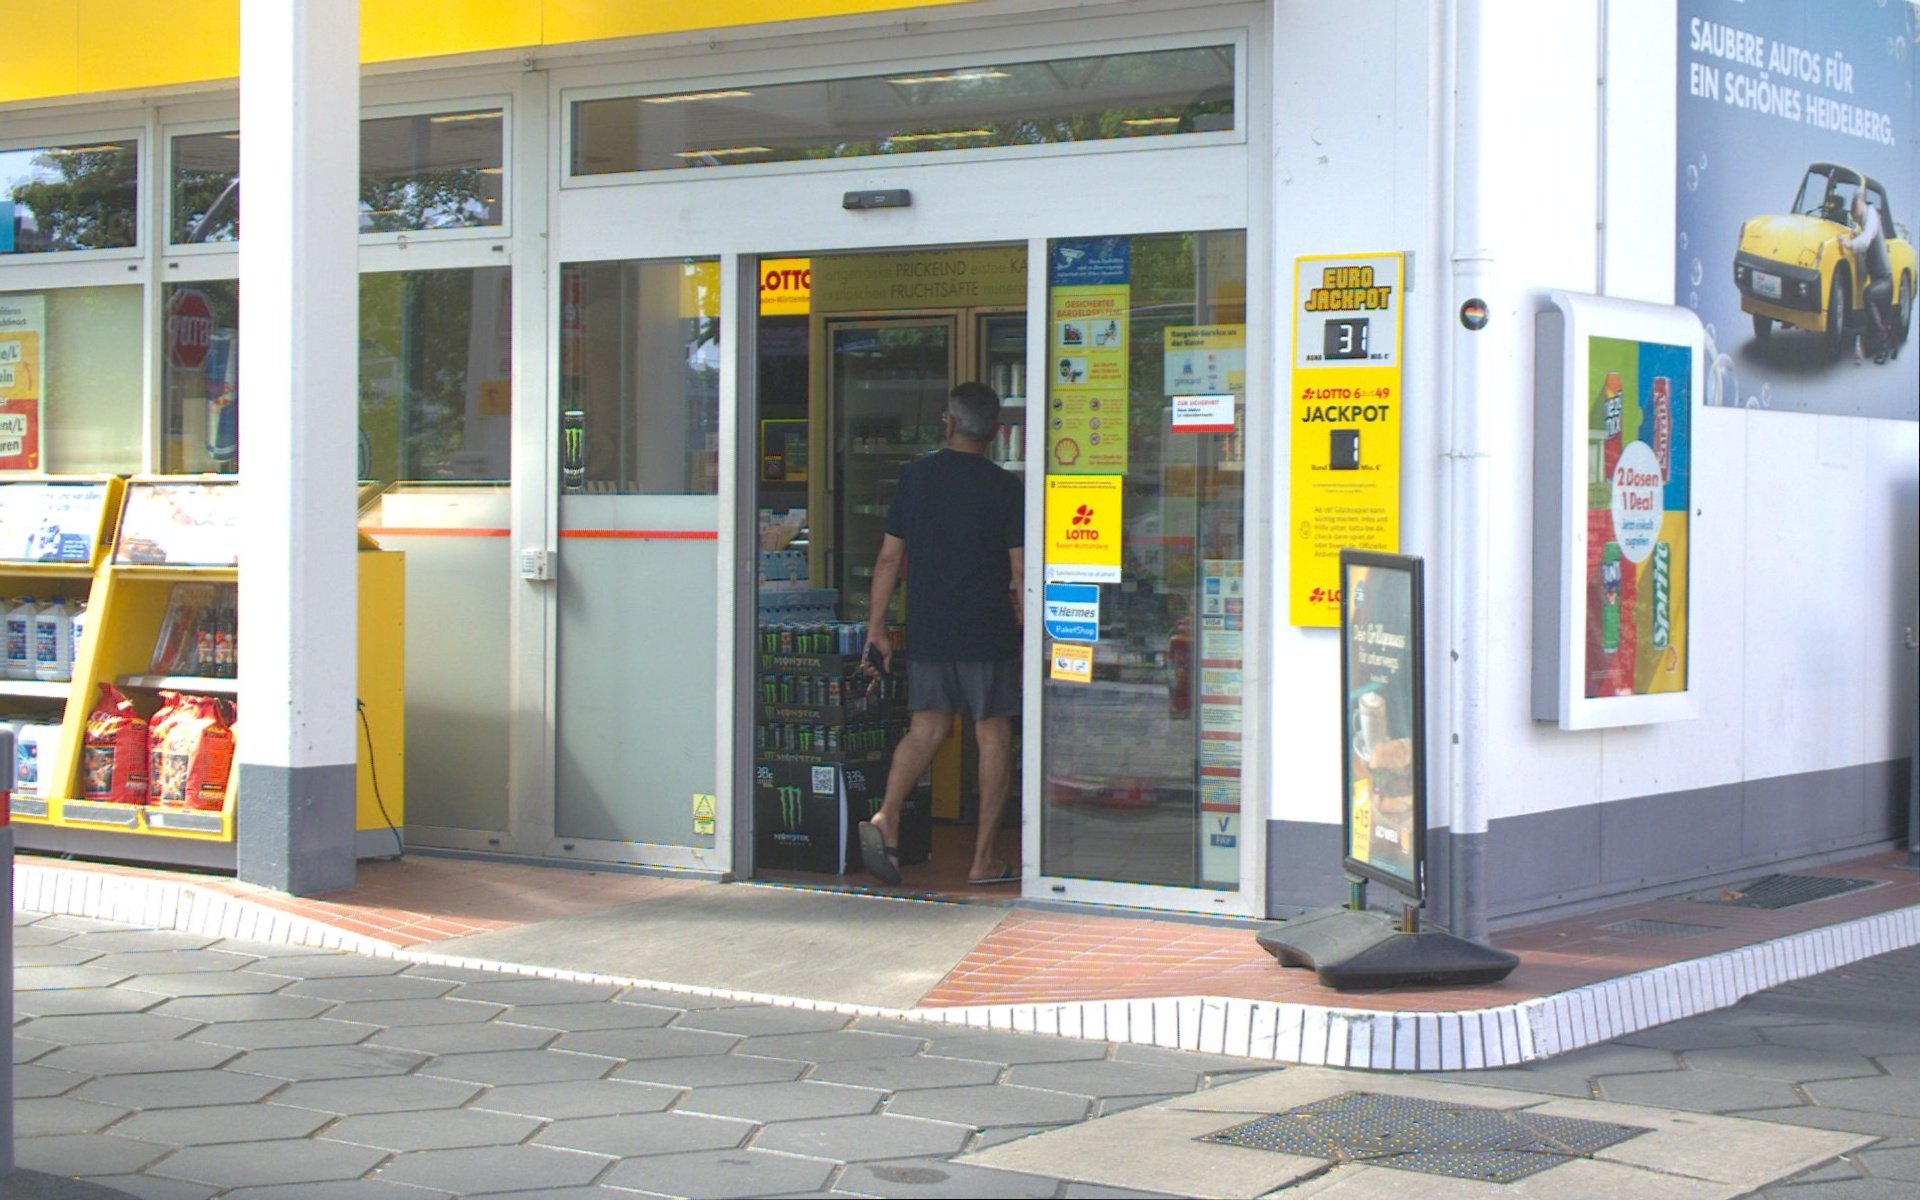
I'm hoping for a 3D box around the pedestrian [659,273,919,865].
[{"bbox_3d":[-0.597,-0.115,12.134,0.622,2.007,0.741,1,1,27],"label":"pedestrian"}]

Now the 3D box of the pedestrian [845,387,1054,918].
[{"bbox_3d":[-0.032,0.164,11.674,0.572,1.756,0.530,1,1,15],"label":"pedestrian"}]
